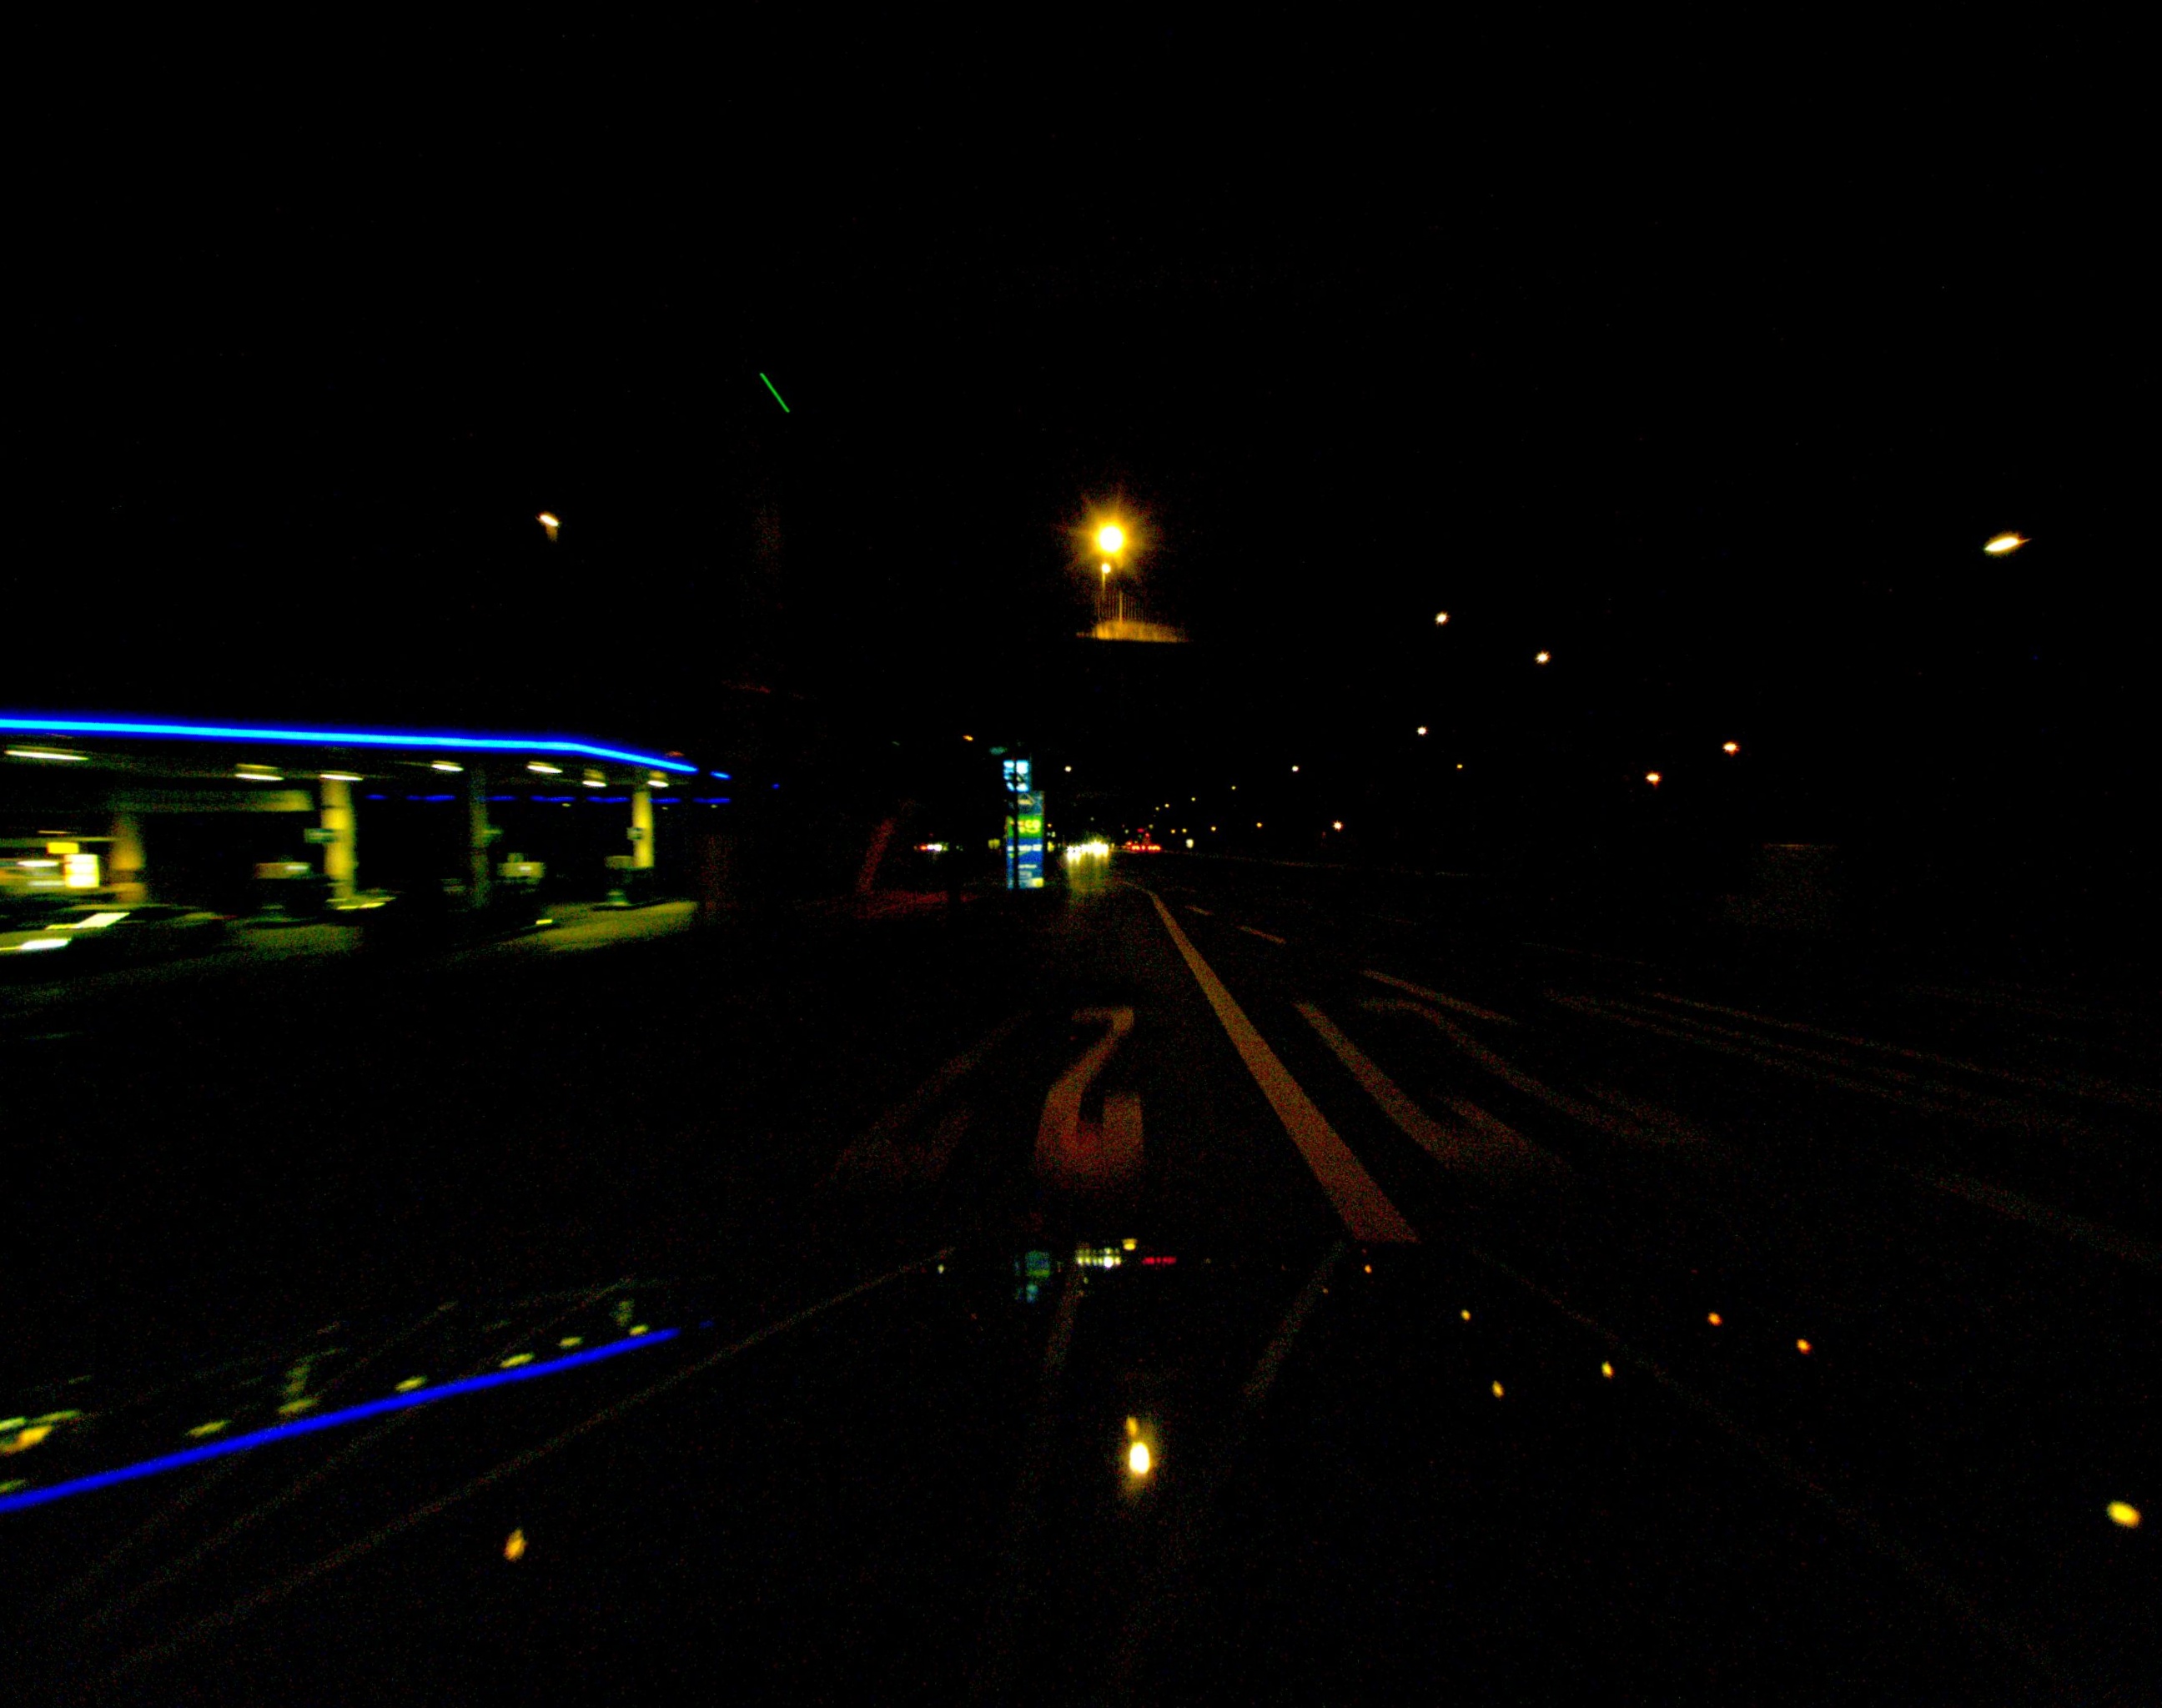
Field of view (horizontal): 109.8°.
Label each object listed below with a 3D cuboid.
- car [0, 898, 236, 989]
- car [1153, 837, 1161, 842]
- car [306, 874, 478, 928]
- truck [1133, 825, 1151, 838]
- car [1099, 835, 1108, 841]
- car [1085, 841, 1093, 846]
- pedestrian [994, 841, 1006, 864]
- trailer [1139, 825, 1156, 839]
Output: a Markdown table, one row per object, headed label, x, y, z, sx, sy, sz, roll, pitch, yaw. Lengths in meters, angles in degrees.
| label | x | y | z | sx | sy | sz | roll | pitch | yaw |
| --- | --- | --- | --- | --- | --- | --- | --- | --- | --- |
| car | -21.278 | 1.848 | 16.475 | 1.658 | 1.351 | 4.064 | -2 | 2 | -8 |
| car | 24.550 | -4.738 | 245.916 | 1.991 | 1.473 | 4.202 | 1 | 2 | -1 |
| car | -22.435 | 1.465 | 25.023 | 1.933 | 1.355 | 4.331 | -1 | 2 | -6 |
| truck | 19.361 | -7.040 | 241.771 | 3.692 | 3.933 | 10.412 | -2 | 2 | -5 |
| car | 5.263 | -3.747 | 180.462 | 1.991 | 1.473 | 4.202 | 1 | 2 | -1 |
| car | 2.240 | -2.927 | 215.411 | 1.991 | 1.473 | 4.202 | 1 | 2 | -1 |
| pedestrian | -6.902 | -0.139 | 64.721 | 0.806 | 1.902 | 0.793 | 2 | 2 | 7 |
| trailer | 20.196 | -6.716 | 232.395 | 3.707 | 3.968 | 8.389 | -2 | 2 | -4 |
